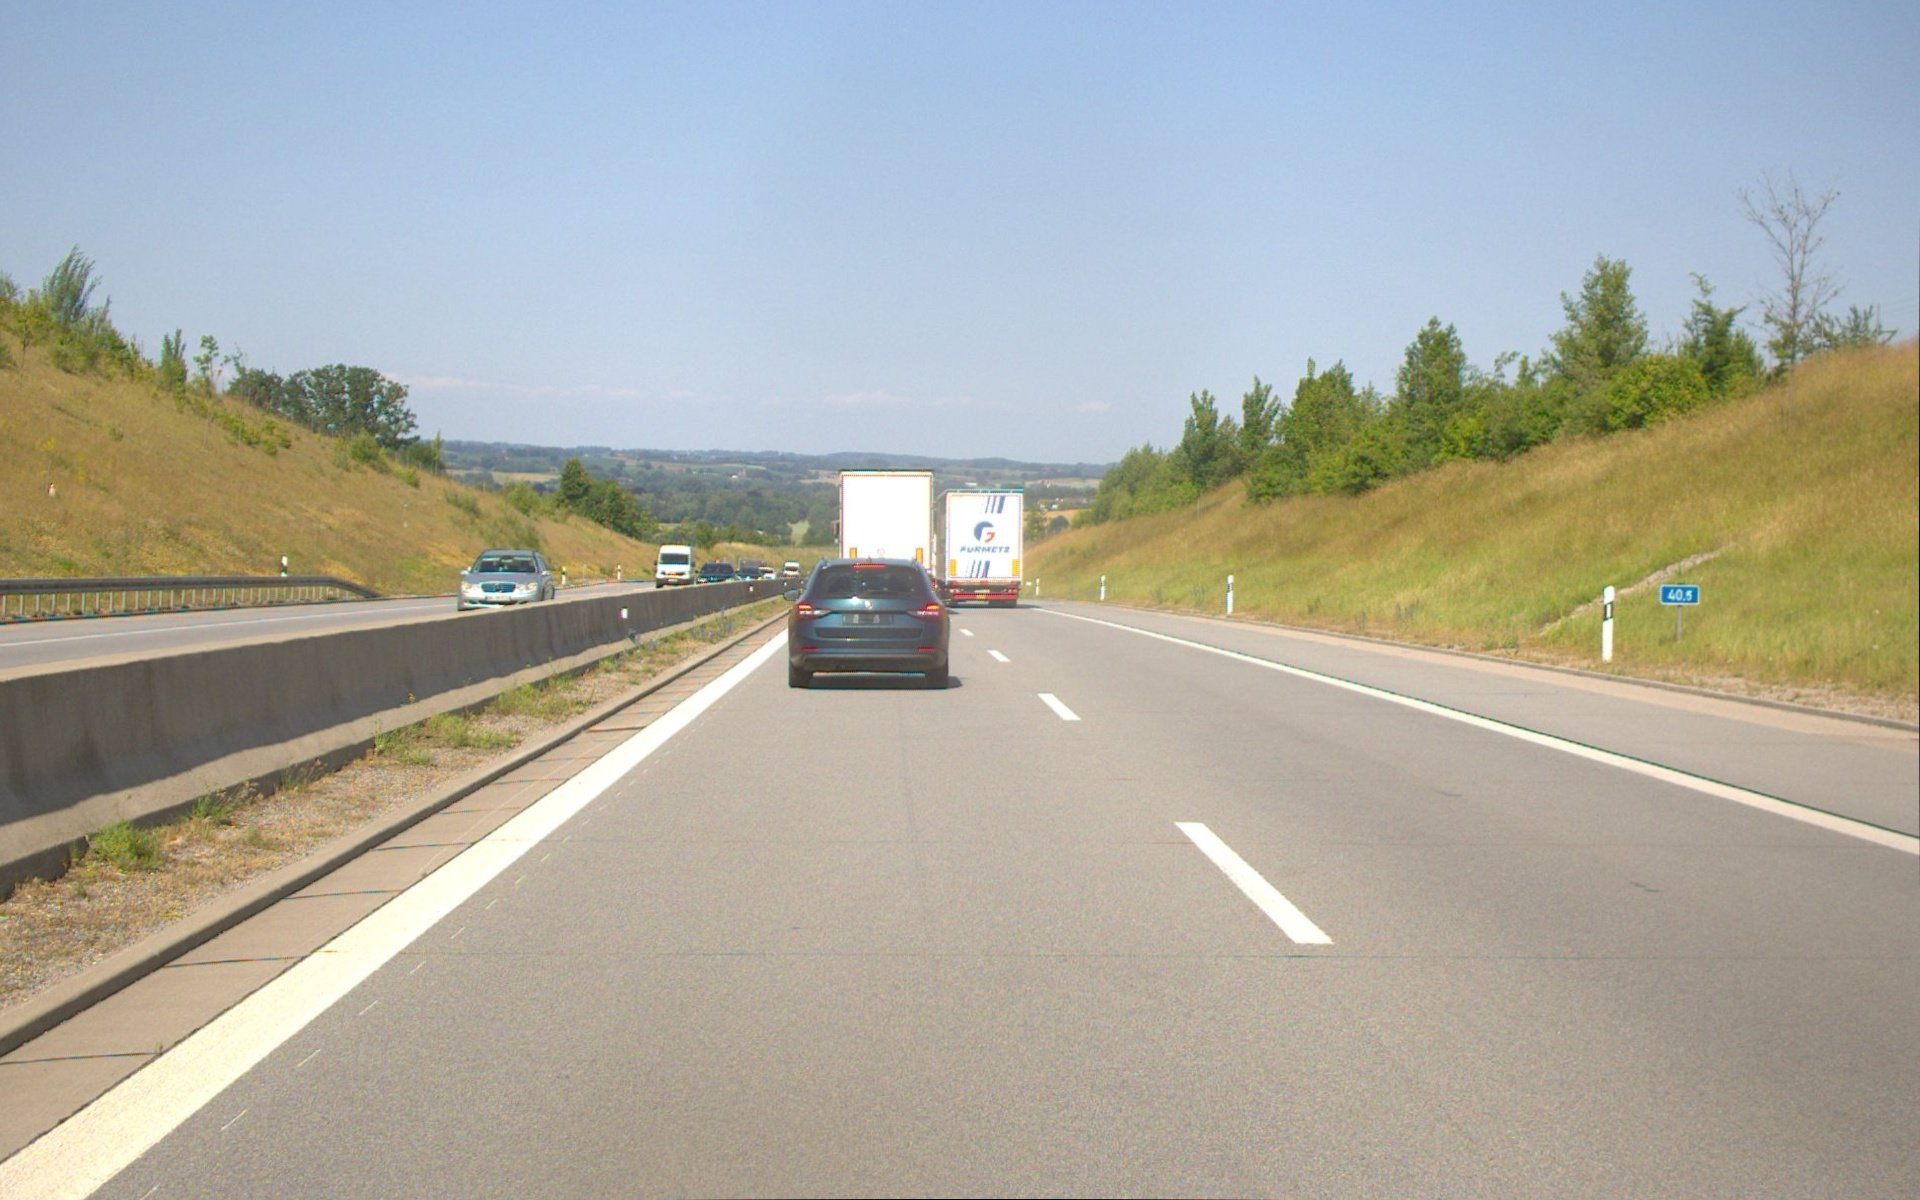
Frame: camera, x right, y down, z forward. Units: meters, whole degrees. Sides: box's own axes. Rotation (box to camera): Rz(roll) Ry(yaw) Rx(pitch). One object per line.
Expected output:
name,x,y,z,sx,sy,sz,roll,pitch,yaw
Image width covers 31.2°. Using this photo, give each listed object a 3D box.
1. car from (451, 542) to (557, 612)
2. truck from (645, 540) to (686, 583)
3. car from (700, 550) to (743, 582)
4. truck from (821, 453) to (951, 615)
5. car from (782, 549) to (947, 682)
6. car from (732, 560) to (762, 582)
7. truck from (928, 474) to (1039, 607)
car,-9.968,-0.524,75.434,1.853,1.456,4.728,1,1,-2
truck,-17.220,-2.253,201.327,2.112,2.452,5.952,1,1,-3
car,-11.201,-1.618,161.913,1.853,1.456,4.769,1,1,-2
truck,-2.039,-1.843,99.155,3.211,4.366,11.233,1,1,1
car,-1.125,0.149,39.057,1.776,1.436,3.789,0,1,-3
car,-14.443,-1.965,233.234,1.853,1.456,4.333,1,1,-2
truck,0.870,-2.033,119.817,3.604,4.366,11.233,1,1,1
